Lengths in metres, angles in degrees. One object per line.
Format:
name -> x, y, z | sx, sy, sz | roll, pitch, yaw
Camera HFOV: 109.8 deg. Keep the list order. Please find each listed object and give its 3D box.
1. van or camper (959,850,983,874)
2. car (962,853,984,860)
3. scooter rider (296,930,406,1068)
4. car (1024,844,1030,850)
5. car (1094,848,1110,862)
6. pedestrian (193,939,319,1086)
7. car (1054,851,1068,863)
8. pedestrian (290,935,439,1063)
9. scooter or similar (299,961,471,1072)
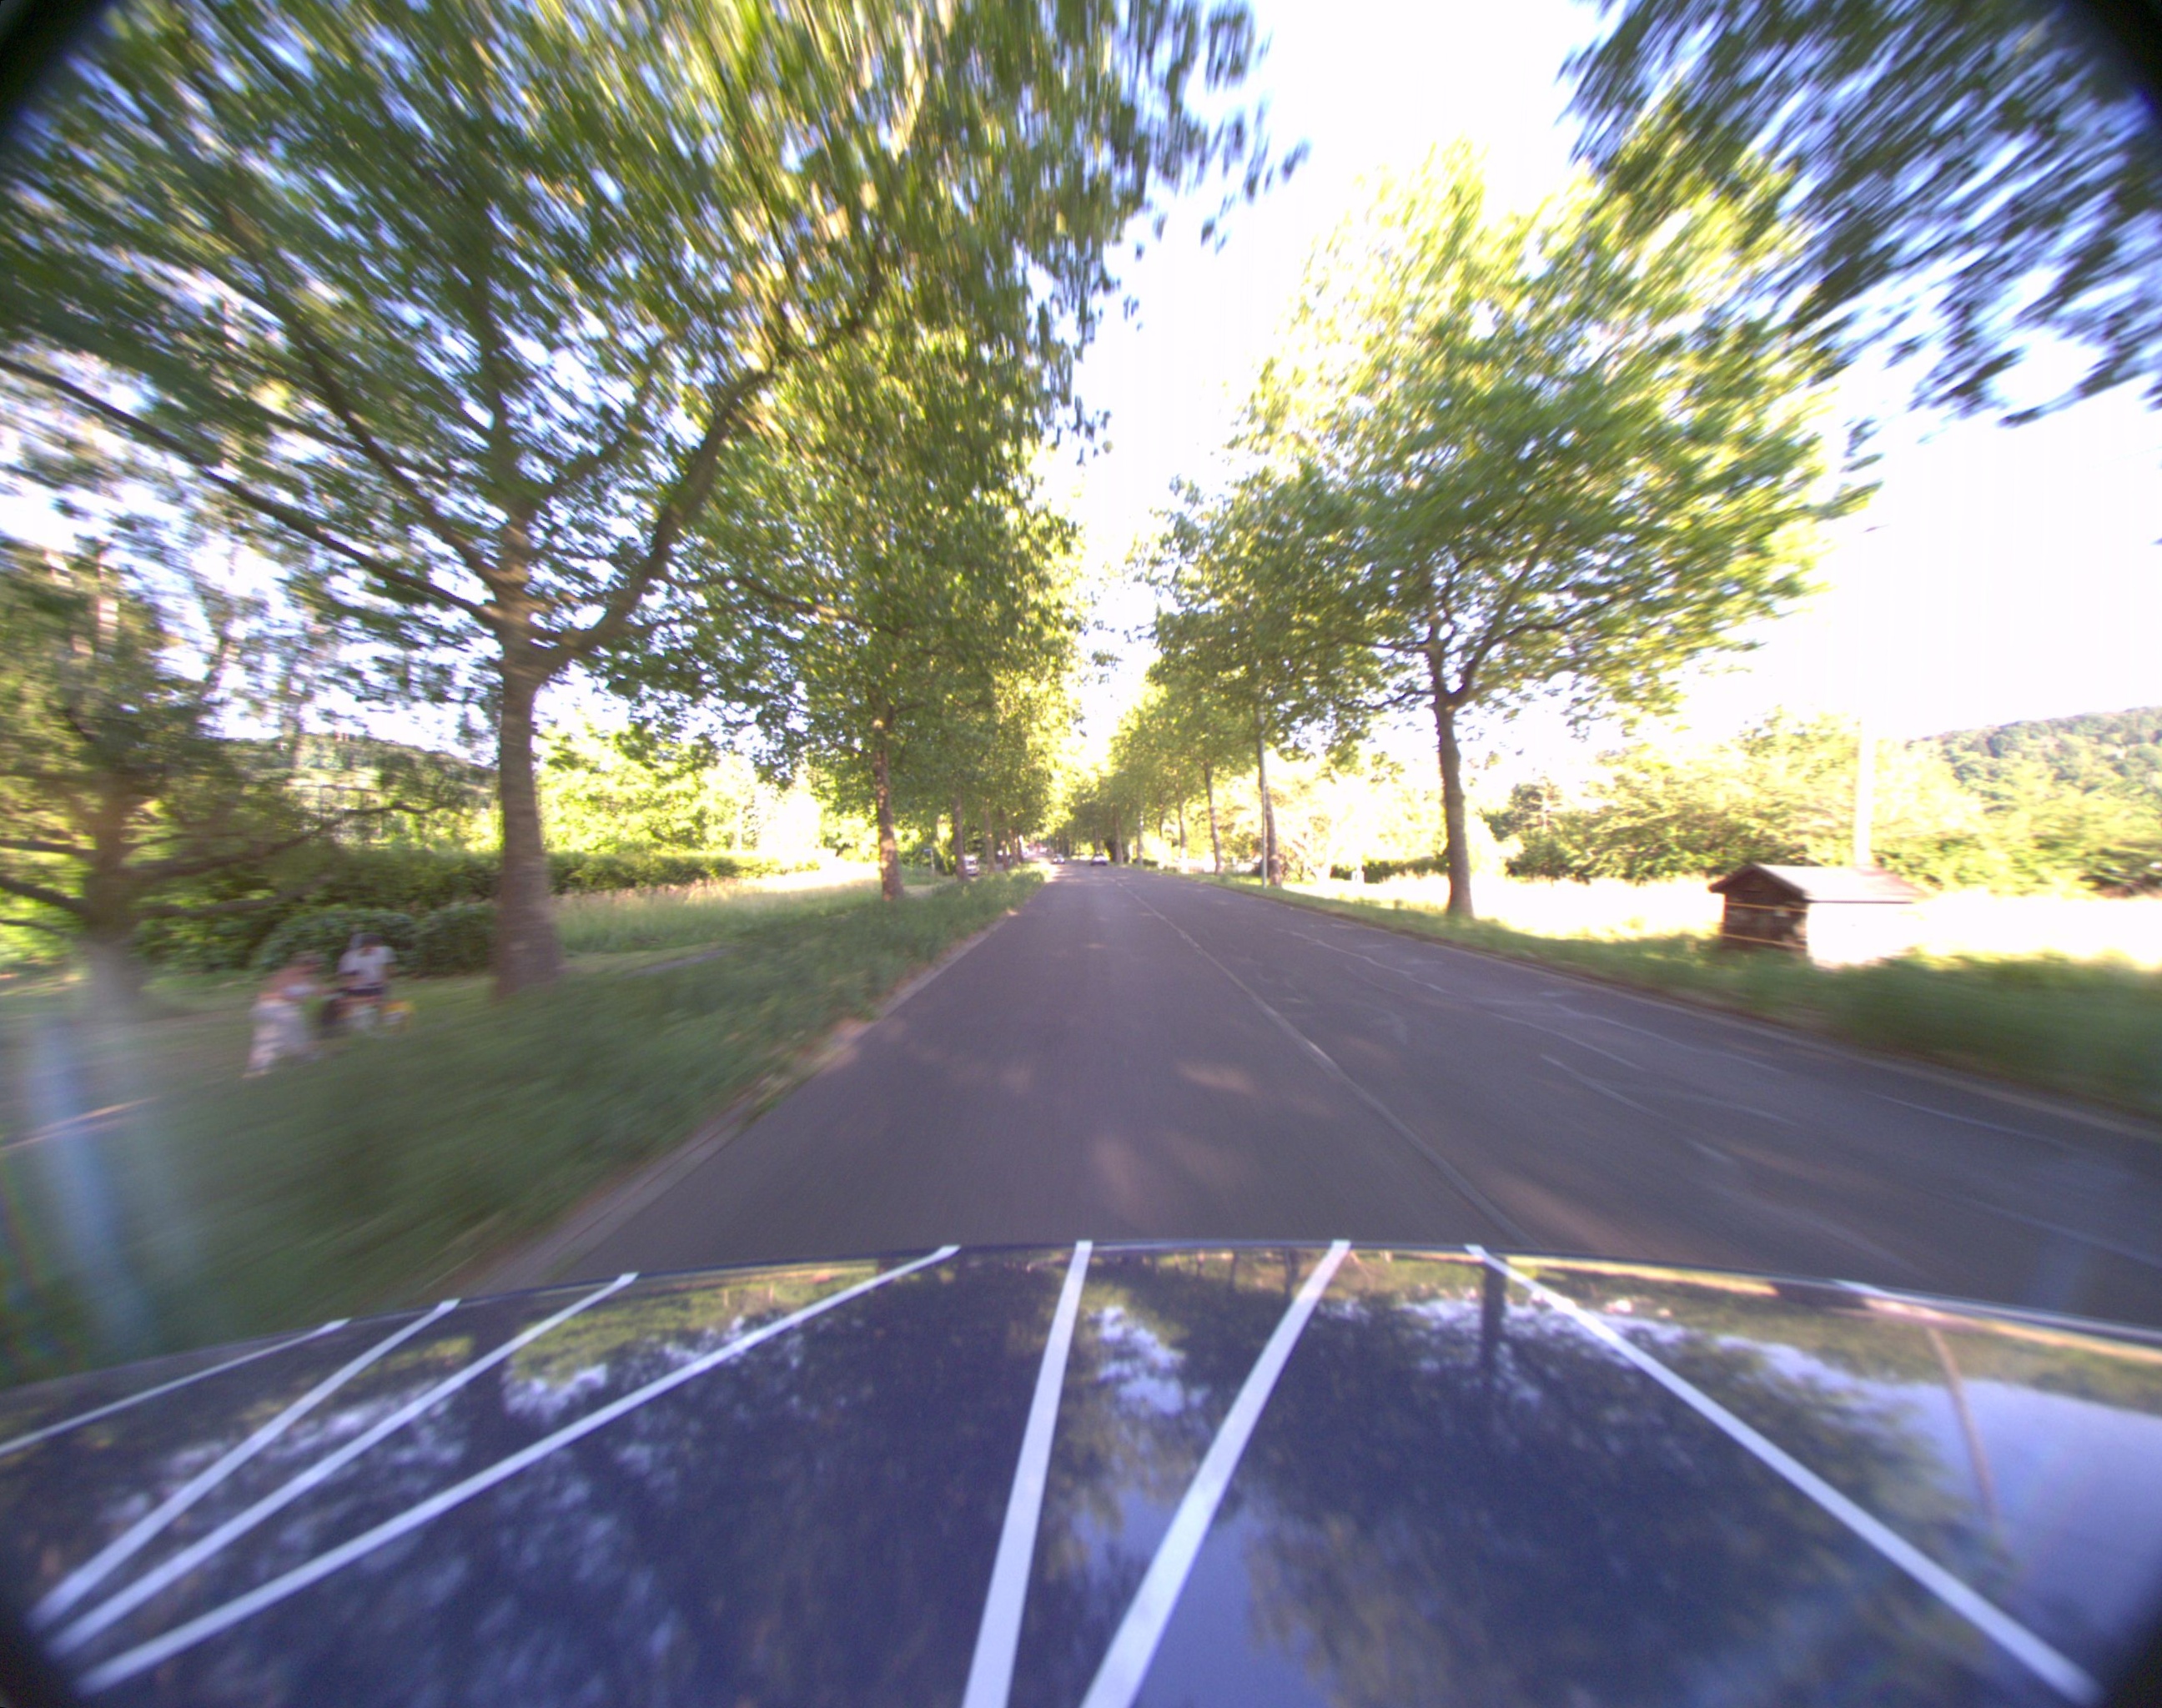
van or camper -> -13.864, 0.932, 95.960 | 2.387, 2.784, 5.682 | -2, 1, -3
car -> -21.727, 0.491, 152.350 | 3.996, 1.378, 2.000 | -2, 1, 3
scooter rider -> -9.502, 1.846, 9.935 | 0.846, 1.567, 0.782 | -3, 2, -34
car -> -17.601, -2.308, 248.337 | 1.870, 1.421, 3.998 | 7, 1, -2
car -> 2.508, 0.116, 92.347 | 1.720, 1.496, 3.999 | -2, 1, -1
pedestrian -> -10.162, 1.914, 9.406 | 0.846, 1.567, 0.782 | -3, 2, -36
car -> -2.904, 0.385, 110.867 | 1.999, 1.656, 3.998 | -2, 1, -2
pedestrian -> -10.152, 2.009, 10.818 | 0.843, 1.567, 1.207 | -1, 2, 11
scooter or similar -> -9.132, 2.098, 10.031 | 1.602, 1.129, 0.340 | -3, 2, -43
